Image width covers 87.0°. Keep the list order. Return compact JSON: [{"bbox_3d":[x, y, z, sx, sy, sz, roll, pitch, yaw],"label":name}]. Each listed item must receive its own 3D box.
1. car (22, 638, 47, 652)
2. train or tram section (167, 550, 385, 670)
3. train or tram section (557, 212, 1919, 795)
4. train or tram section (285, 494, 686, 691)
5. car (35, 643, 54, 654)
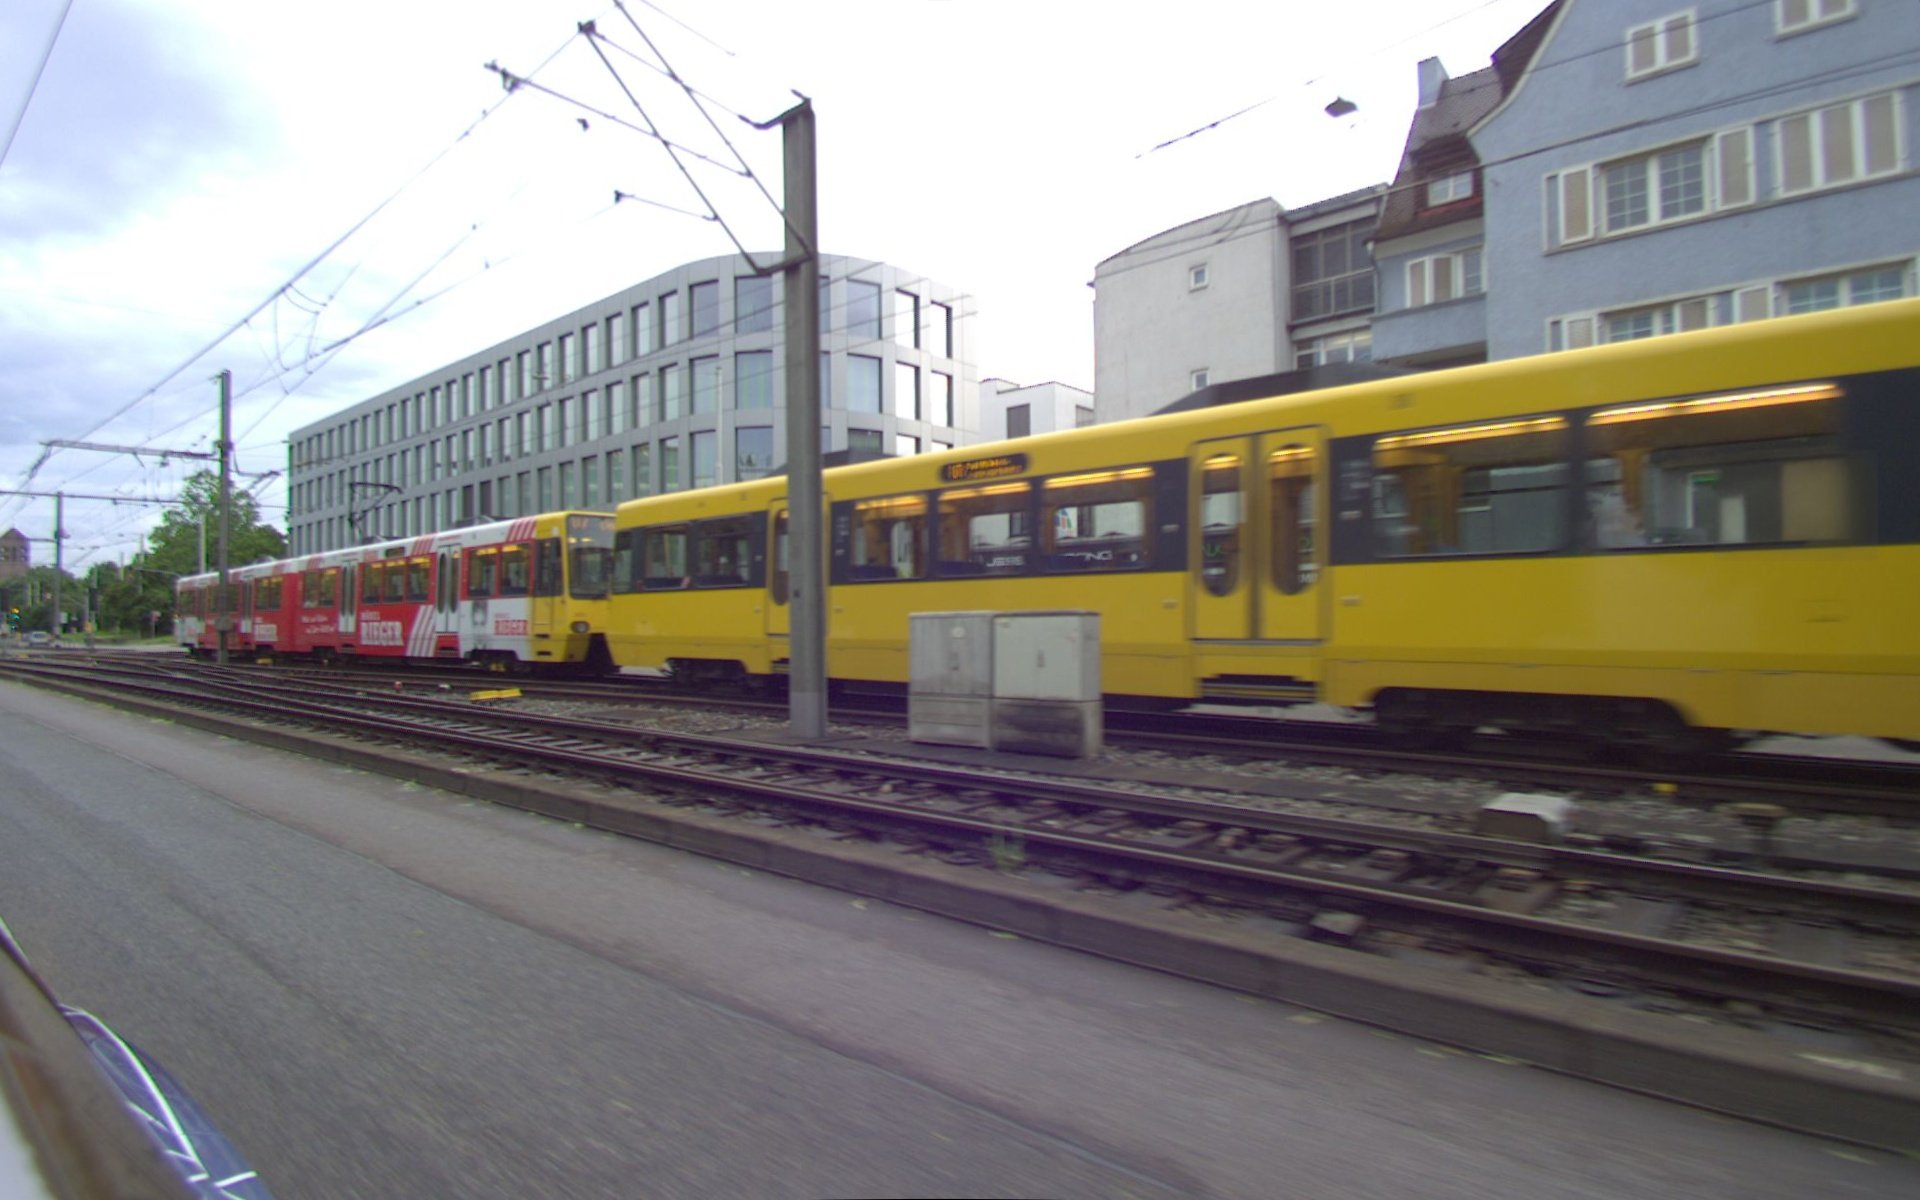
[{"bbox_3d":[-112.119,5.450,122.591,3.562,1.649,1.788,-3,-2,41],"label":"car"},{"bbox_3d":[-27.399,0.567,39.713,18.611,3.840,2.935,-2,-2,43],"label":"train or tram section"},{"bbox_3d":[0.200,-0.388,14.206,19.095,3.840,2.935,-2,-2,43],"label":"train or tram section"},{"bbox_3d":[-13.736,0.100,27.071,18.611,3.840,2.935,-2,-2,43],"label":"train or tram section"},{"bbox_3d":[-137.745,7.302,152.259,3.563,1.561,1.752,-3,-2,42],"label":"car"}]
